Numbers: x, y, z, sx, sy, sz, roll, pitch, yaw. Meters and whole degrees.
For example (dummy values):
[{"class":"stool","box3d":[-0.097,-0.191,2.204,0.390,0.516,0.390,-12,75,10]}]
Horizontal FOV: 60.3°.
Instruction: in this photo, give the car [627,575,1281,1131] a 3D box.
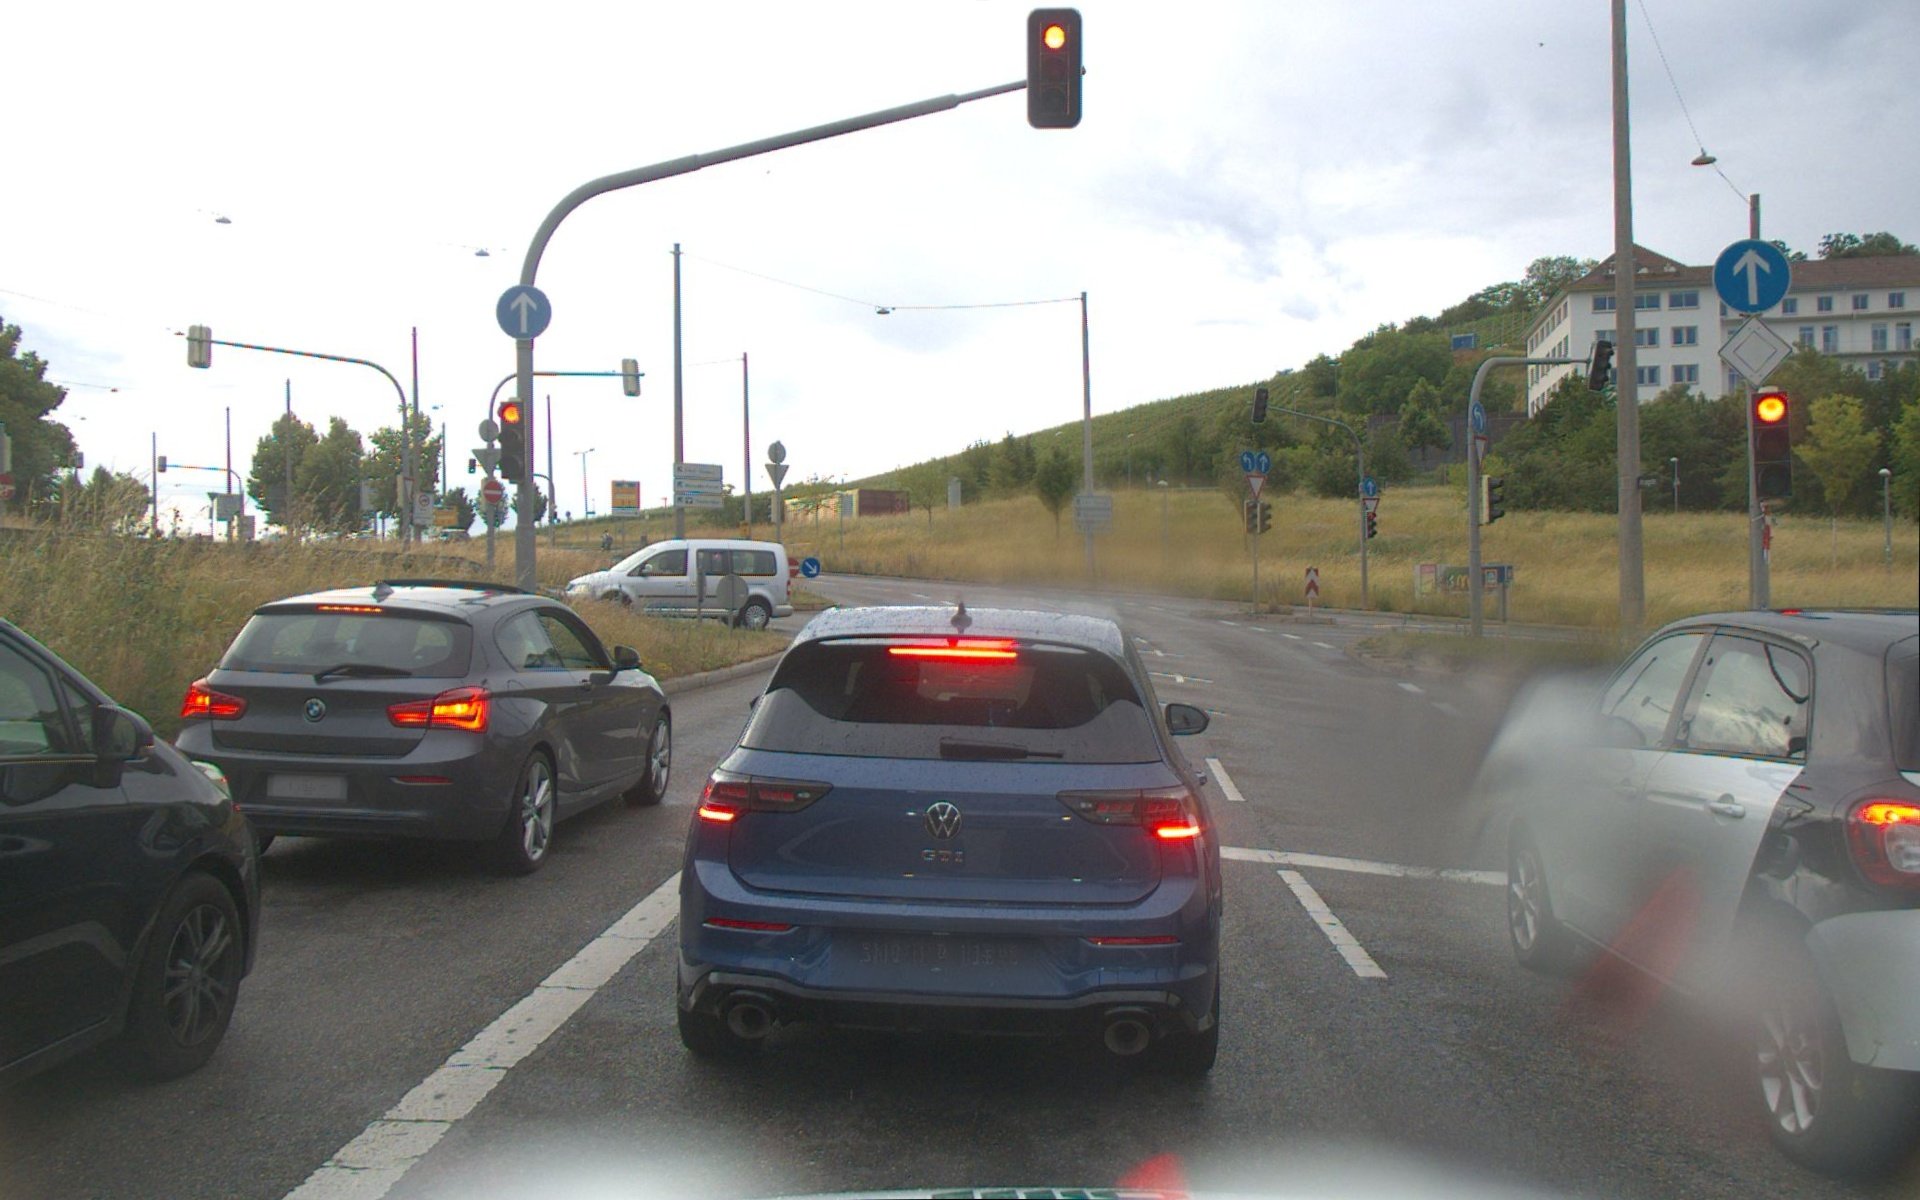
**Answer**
[{"class":"car","box3d":[0.121,0.679,6.442,1.786,1.486,3.810,1,0,4]}]

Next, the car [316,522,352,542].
[{"class":"car","box3d":[-55.496,-6.020,146.688,1.977,1.503,4.366,1,-1,-35]}]

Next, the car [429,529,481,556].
[{"class":"car","box3d":[-34.168,-3.872,111.902,1.979,1.665,4.362,1,-1,-37]}]

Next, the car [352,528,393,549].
[{"class":"car","box3d":[-47.325,-4.917,133.197,1.978,1.503,4.446,1,-1,-36]}]

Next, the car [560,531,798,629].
[{"class":"car","box3d":[-5.869,-0.377,34.523,4.618,1.882,1.809,1,-1,-23]}]

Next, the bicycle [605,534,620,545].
[{"class":"bicycle","box3d":[-25.488,-4.455,121.243,0.513,0.788,1.602,1,0,-33]}]

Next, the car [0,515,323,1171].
[{"class":"car","box3d":[-3.020,0.535,3.668,1.608,1.530,3.779,2,0,2]}]

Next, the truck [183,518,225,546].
[{"class":"truck","box3d":[-92.673,-8.331,202.714,3.234,3.128,6.096,4,0,-37]}]

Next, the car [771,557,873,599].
[{"class":"car","box3d":[-5.747,-0.942,68.356,1.978,1.646,4.790,1,1,-36]}]

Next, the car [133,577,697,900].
[{"class":"car","box3d":[-2.861,0.617,9.717,1.667,1.485,4.117,0,0,5]}]

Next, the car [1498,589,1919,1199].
[{"class":"car","box3d":[3.164,0.770,5.735,1.623,1.529,3.452,1,-1,3]}]

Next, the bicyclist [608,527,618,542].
[{"class":"bicyclist","box3d":[-25.386,-4.811,121.090,0.518,1.065,0.574,4,0,-33]}]

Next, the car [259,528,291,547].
[{"class":"car","box3d":[-69.777,-6.361,168.424,2.110,1.825,4.686,3,0,-34]}]
